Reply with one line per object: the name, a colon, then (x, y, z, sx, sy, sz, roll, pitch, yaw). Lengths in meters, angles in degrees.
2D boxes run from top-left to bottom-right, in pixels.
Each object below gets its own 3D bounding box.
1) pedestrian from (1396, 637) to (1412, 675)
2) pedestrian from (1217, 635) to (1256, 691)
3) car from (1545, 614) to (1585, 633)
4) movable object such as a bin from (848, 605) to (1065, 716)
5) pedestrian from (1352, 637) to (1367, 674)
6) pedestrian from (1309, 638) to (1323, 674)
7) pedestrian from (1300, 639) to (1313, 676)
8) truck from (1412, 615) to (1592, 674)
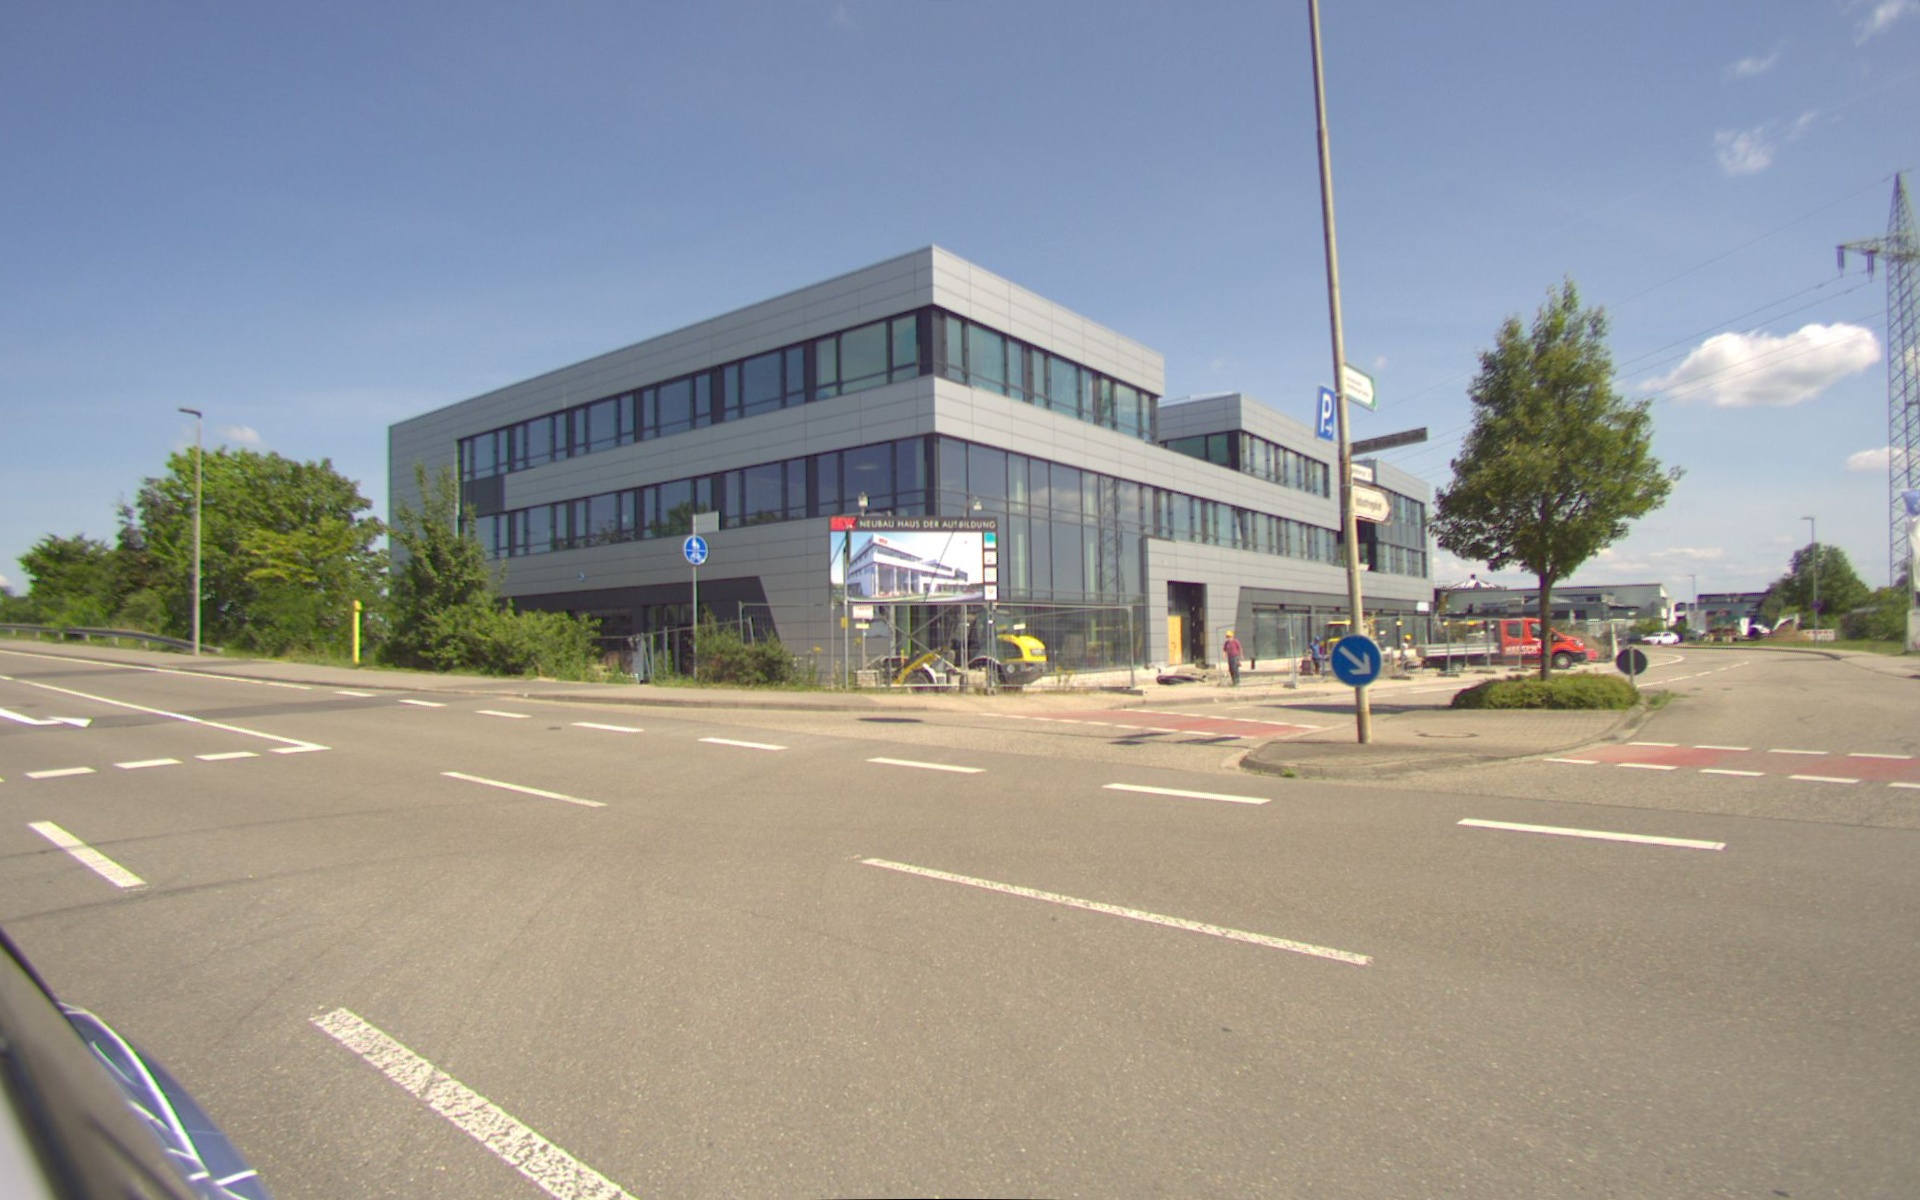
pedestrian: (18.273, 2.294, 41.654, 0.521, 1.530, 0.444, -1, -2, 14)
pedestrian: (9.488, 2.142, 34.714, 1.007, 1.868, 0.823, -2, -2, 43)
car: (73.491, 2.856, 122.896, 3.991, 2.173, 1.976, -2, -2, 35)
movable object such as a bin: (-0.142, 1.551, 28.000, 5.708, 2.719, 2.061, 1, 0, 27)
pedestrian: (16.692, 2.322, 42.292, 0.521, 1.530, 0.413, -1, -2, 14)
pedestrian: (15.227, 2.380, 43.301, 0.521, 1.530, 0.413, -1, -2, 14)
pedestrian: (14.402, 2.386, 42.068, 0.465, 1.530, 0.567, -1, -2, 13)
truck: (22.493, 1.859, 42.345, 6.048, 2.204, 2.499, -3, -2, 14)
